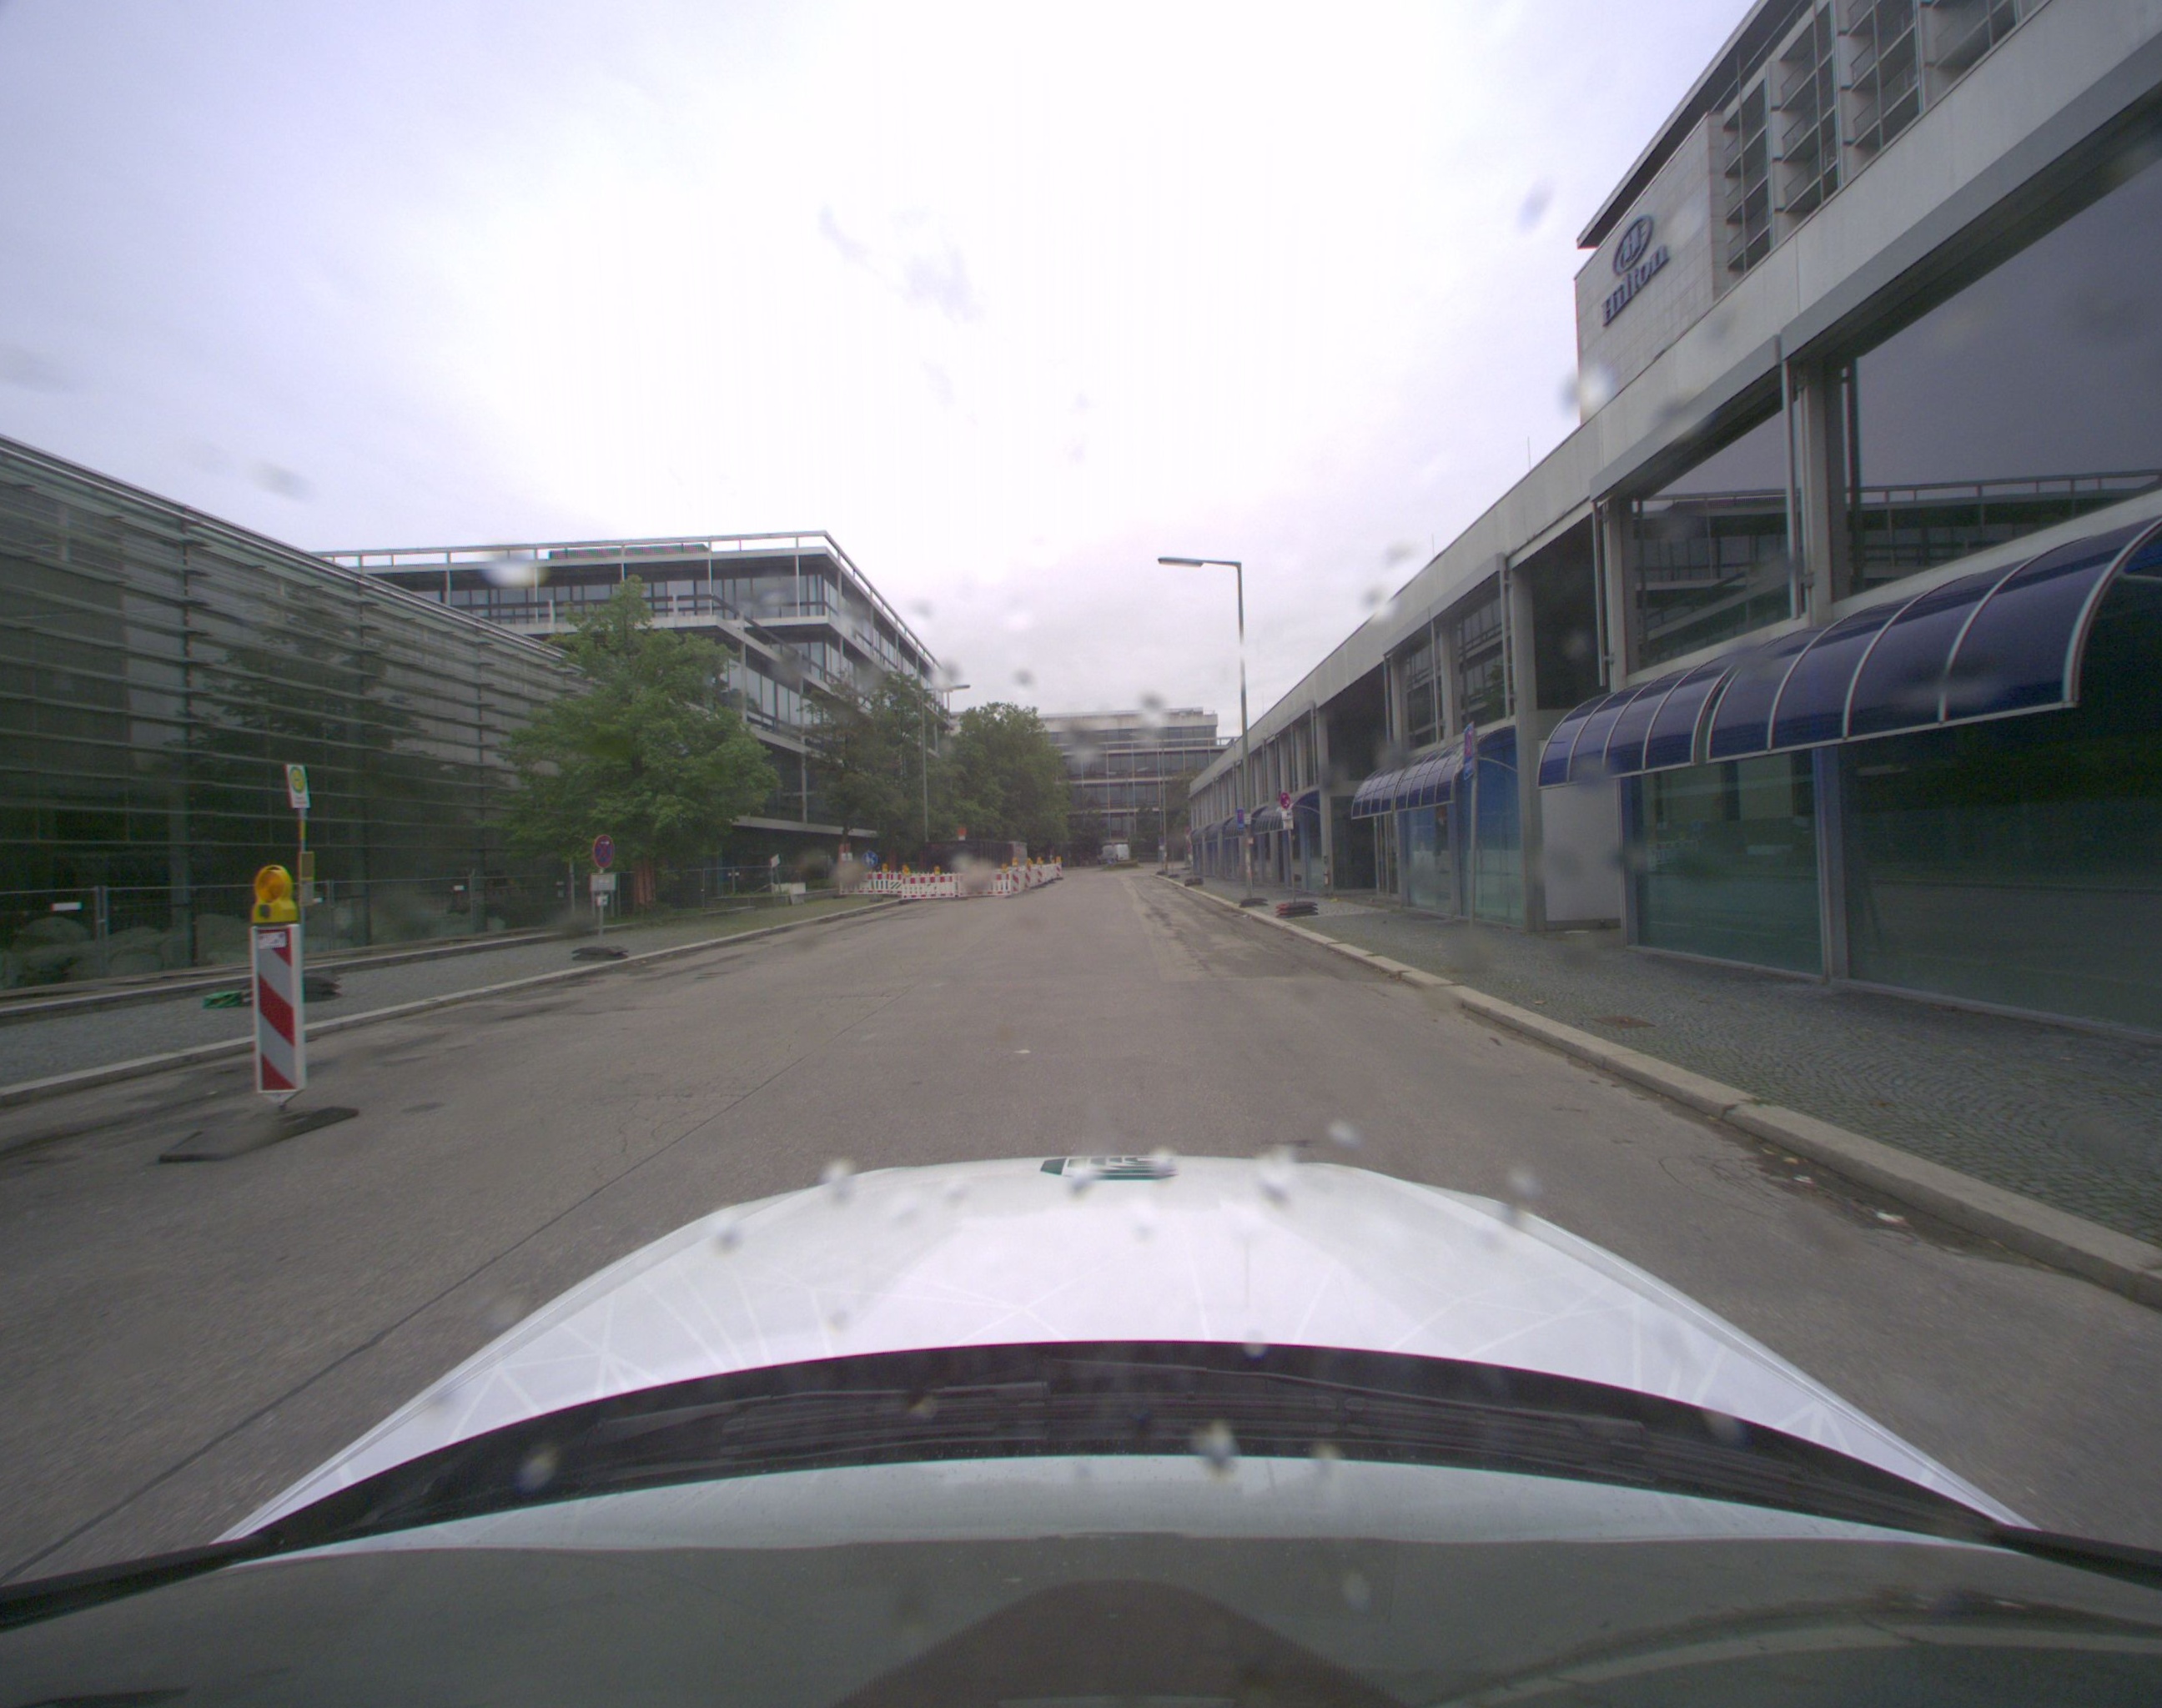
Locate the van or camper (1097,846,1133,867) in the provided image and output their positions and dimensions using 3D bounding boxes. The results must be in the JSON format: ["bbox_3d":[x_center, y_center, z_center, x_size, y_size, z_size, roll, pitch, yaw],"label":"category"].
[{"bbox_3d":[4.597,0.332,111.479,2.166,2.581,6.486,-1,-2,-24],"label":"van or camper"}]
